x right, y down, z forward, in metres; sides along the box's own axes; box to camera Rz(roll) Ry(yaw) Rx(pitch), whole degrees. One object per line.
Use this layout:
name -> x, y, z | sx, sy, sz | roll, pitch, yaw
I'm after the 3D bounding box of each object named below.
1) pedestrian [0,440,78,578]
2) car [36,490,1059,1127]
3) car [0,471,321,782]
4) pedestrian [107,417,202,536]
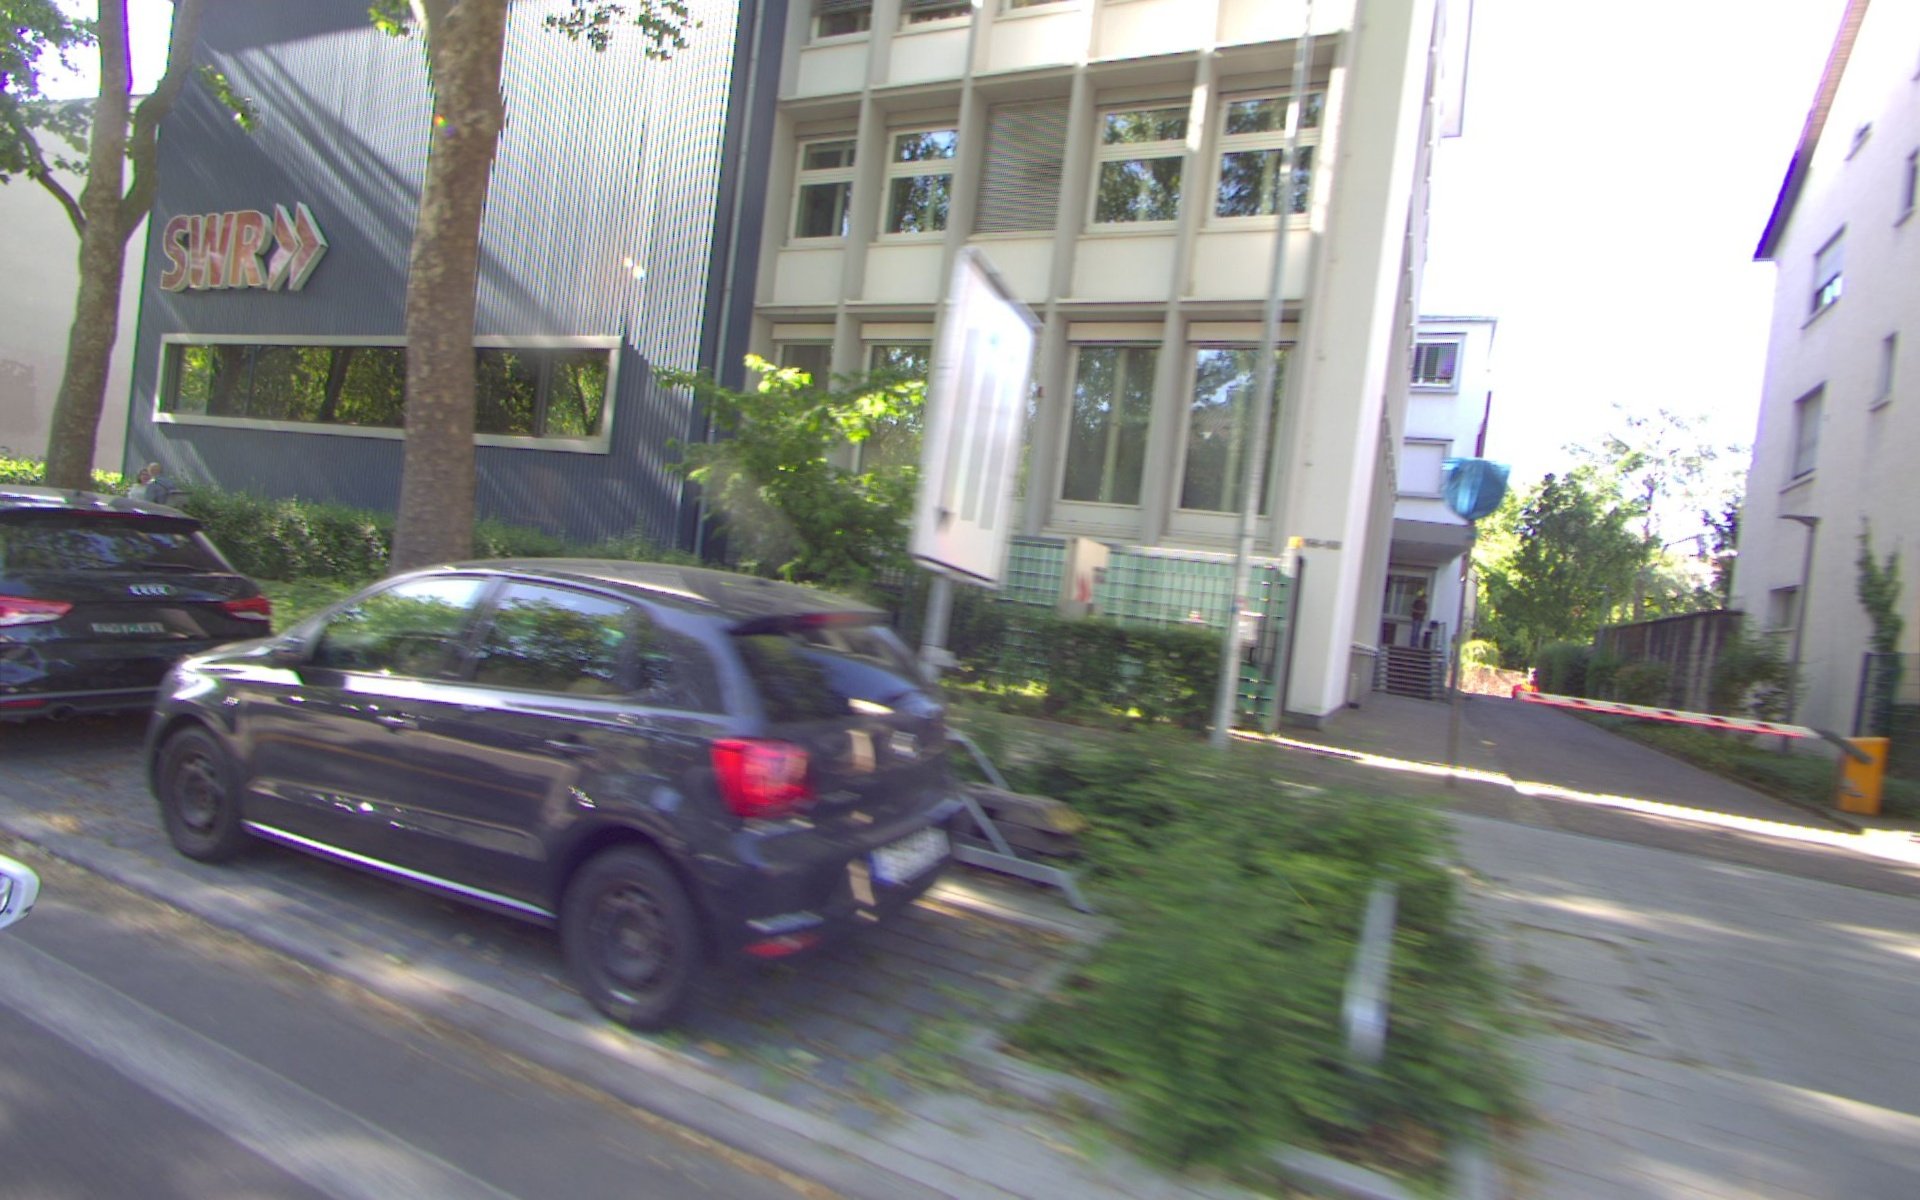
pedestrian -> -12.107, -1.179, 12.811 | 1.244, 1.622, 0.730 | 7, 1, 22
car -> -1.897, 0.550, 4.514 | 4.175, 1.526, 1.768 | 7, 0, 25
car -> -6.332, -0.028, 6.520 | 4.054, 1.558, 1.662 | 7, -1, 25
pedestrian -> -12.573, -1.915, 15.709 | 0.663, 1.667, 0.708 | 10, 0, 22
